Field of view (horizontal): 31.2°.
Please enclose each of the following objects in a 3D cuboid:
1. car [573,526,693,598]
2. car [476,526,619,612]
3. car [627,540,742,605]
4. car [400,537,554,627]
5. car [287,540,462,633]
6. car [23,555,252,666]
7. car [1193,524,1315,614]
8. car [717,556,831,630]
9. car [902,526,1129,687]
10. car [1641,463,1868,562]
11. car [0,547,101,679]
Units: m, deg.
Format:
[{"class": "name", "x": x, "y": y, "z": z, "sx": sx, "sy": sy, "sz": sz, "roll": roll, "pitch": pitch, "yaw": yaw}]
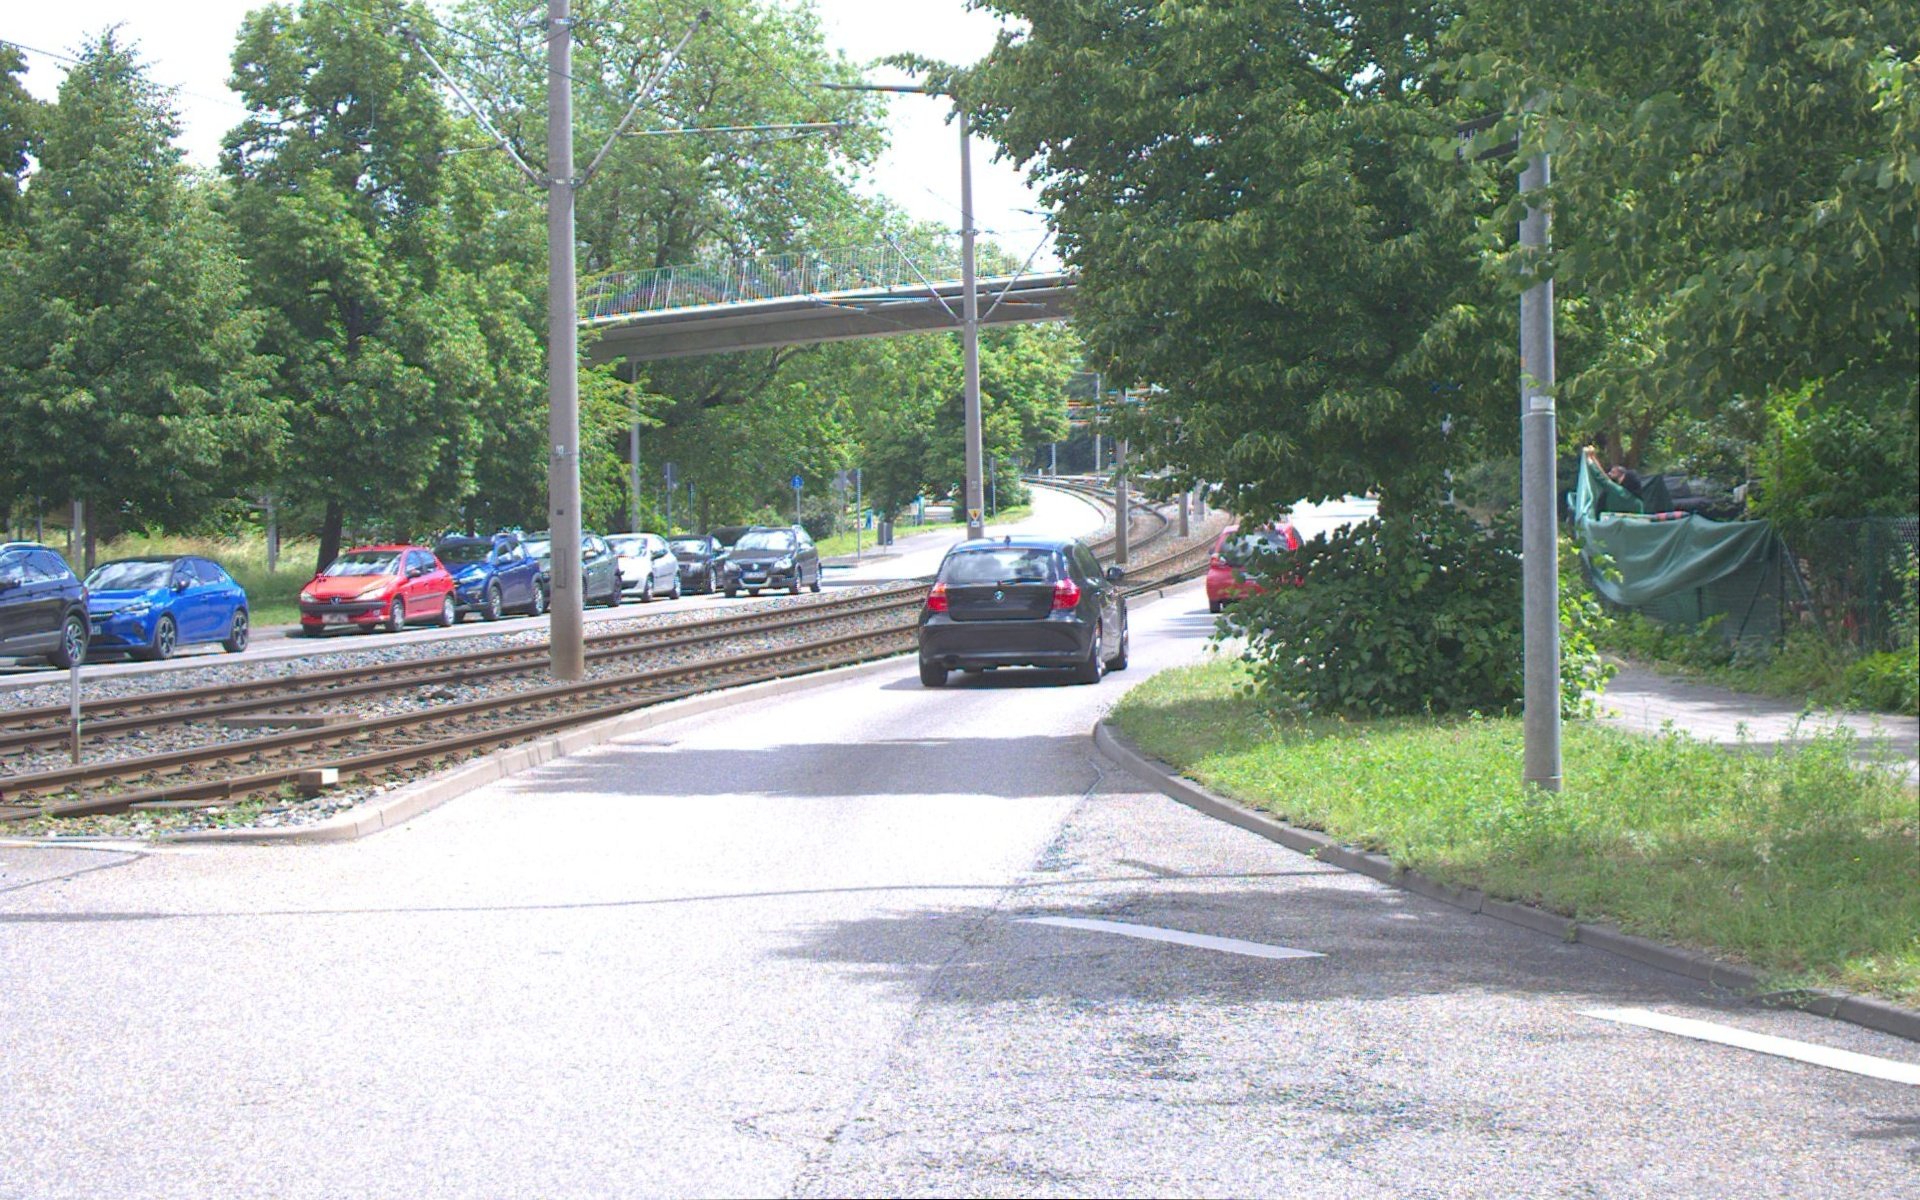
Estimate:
[{"class": "car", "x": -6.998, "y": -0.798, "z": 73.949, "sx": 1.594, "sy": 1.489, "sz": 4.191, "roll": 1, "pitch": 0, "yaw": 8}, {"class": "car", "x": -8.153, "y": -0.625, "z": 68.275, "sx": 1.643, "sy": 1.617, "sz": 4.124, "roll": -1, "pitch": 1, "yaw": 10}, {"class": "car", "x": -6.318, "y": -0.617, "z": 79.167, "sx": 1.690, "sy": 1.445, "sz": 3.897, "roll": 1, "pitch": 0, "yaw": 10}, {"class": "car", "x": -8.830, "y": -0.320, "z": 63.112, "sx": 1.558, "sy": 1.590, "sz": 4.158, "roll": 1, "pitch": 0, "yaw": 10}, {"class": "car", "x": -9.804, "y": -0.217, "z": 57.847, "sx": 1.614, "sy": 1.489, "sz": 4.046, "roll": 1, "pitch": 0, "yaw": 10}, {"class": "car", "x": -11.385, "y": 0.143, "z": 47.862, "sx": 1.614, "sy": 1.456, "sz": 4.006, "roll": 1, "pitch": 0, "yaw": 10}, {"class": "car", "x": 4.960, "y": -0.512, "z": 57.697, "sx": 1.625, "sy": 1.438, "sz": 3.419, "roll": 1, "pitch": 0, "yaw": 12}, {"class": "car", "x": -4.070, "y": -0.155, "z": 75.756, "sx": 1.614, "sy": 1.568, "sz": 3.998, "roll": 1, "pitch": 0, "yaw": 10}, {"class": "car", "x": 0.607, "y": 0.015, "z": 33.830, "sx": 1.709, "sy": 1.455, "sz": 3.959, "roll": 1, "pitch": 2, "yaw": 9}, {"class": "car", "x": 16.977, "y": -1.844, "z": 73.587, "sx": 4.526, "sy": 1.666, "sz": 1.999, "roll": -5, "pitch": -1, "yaw": 12}, {"class": "car", "x": -12.328, "y": 0.147, "z": 42.624, "sx": 1.581, "sy": 1.600, "sz": 4.372, "roll": 1, "pitch": 0, "yaw": 10}]
